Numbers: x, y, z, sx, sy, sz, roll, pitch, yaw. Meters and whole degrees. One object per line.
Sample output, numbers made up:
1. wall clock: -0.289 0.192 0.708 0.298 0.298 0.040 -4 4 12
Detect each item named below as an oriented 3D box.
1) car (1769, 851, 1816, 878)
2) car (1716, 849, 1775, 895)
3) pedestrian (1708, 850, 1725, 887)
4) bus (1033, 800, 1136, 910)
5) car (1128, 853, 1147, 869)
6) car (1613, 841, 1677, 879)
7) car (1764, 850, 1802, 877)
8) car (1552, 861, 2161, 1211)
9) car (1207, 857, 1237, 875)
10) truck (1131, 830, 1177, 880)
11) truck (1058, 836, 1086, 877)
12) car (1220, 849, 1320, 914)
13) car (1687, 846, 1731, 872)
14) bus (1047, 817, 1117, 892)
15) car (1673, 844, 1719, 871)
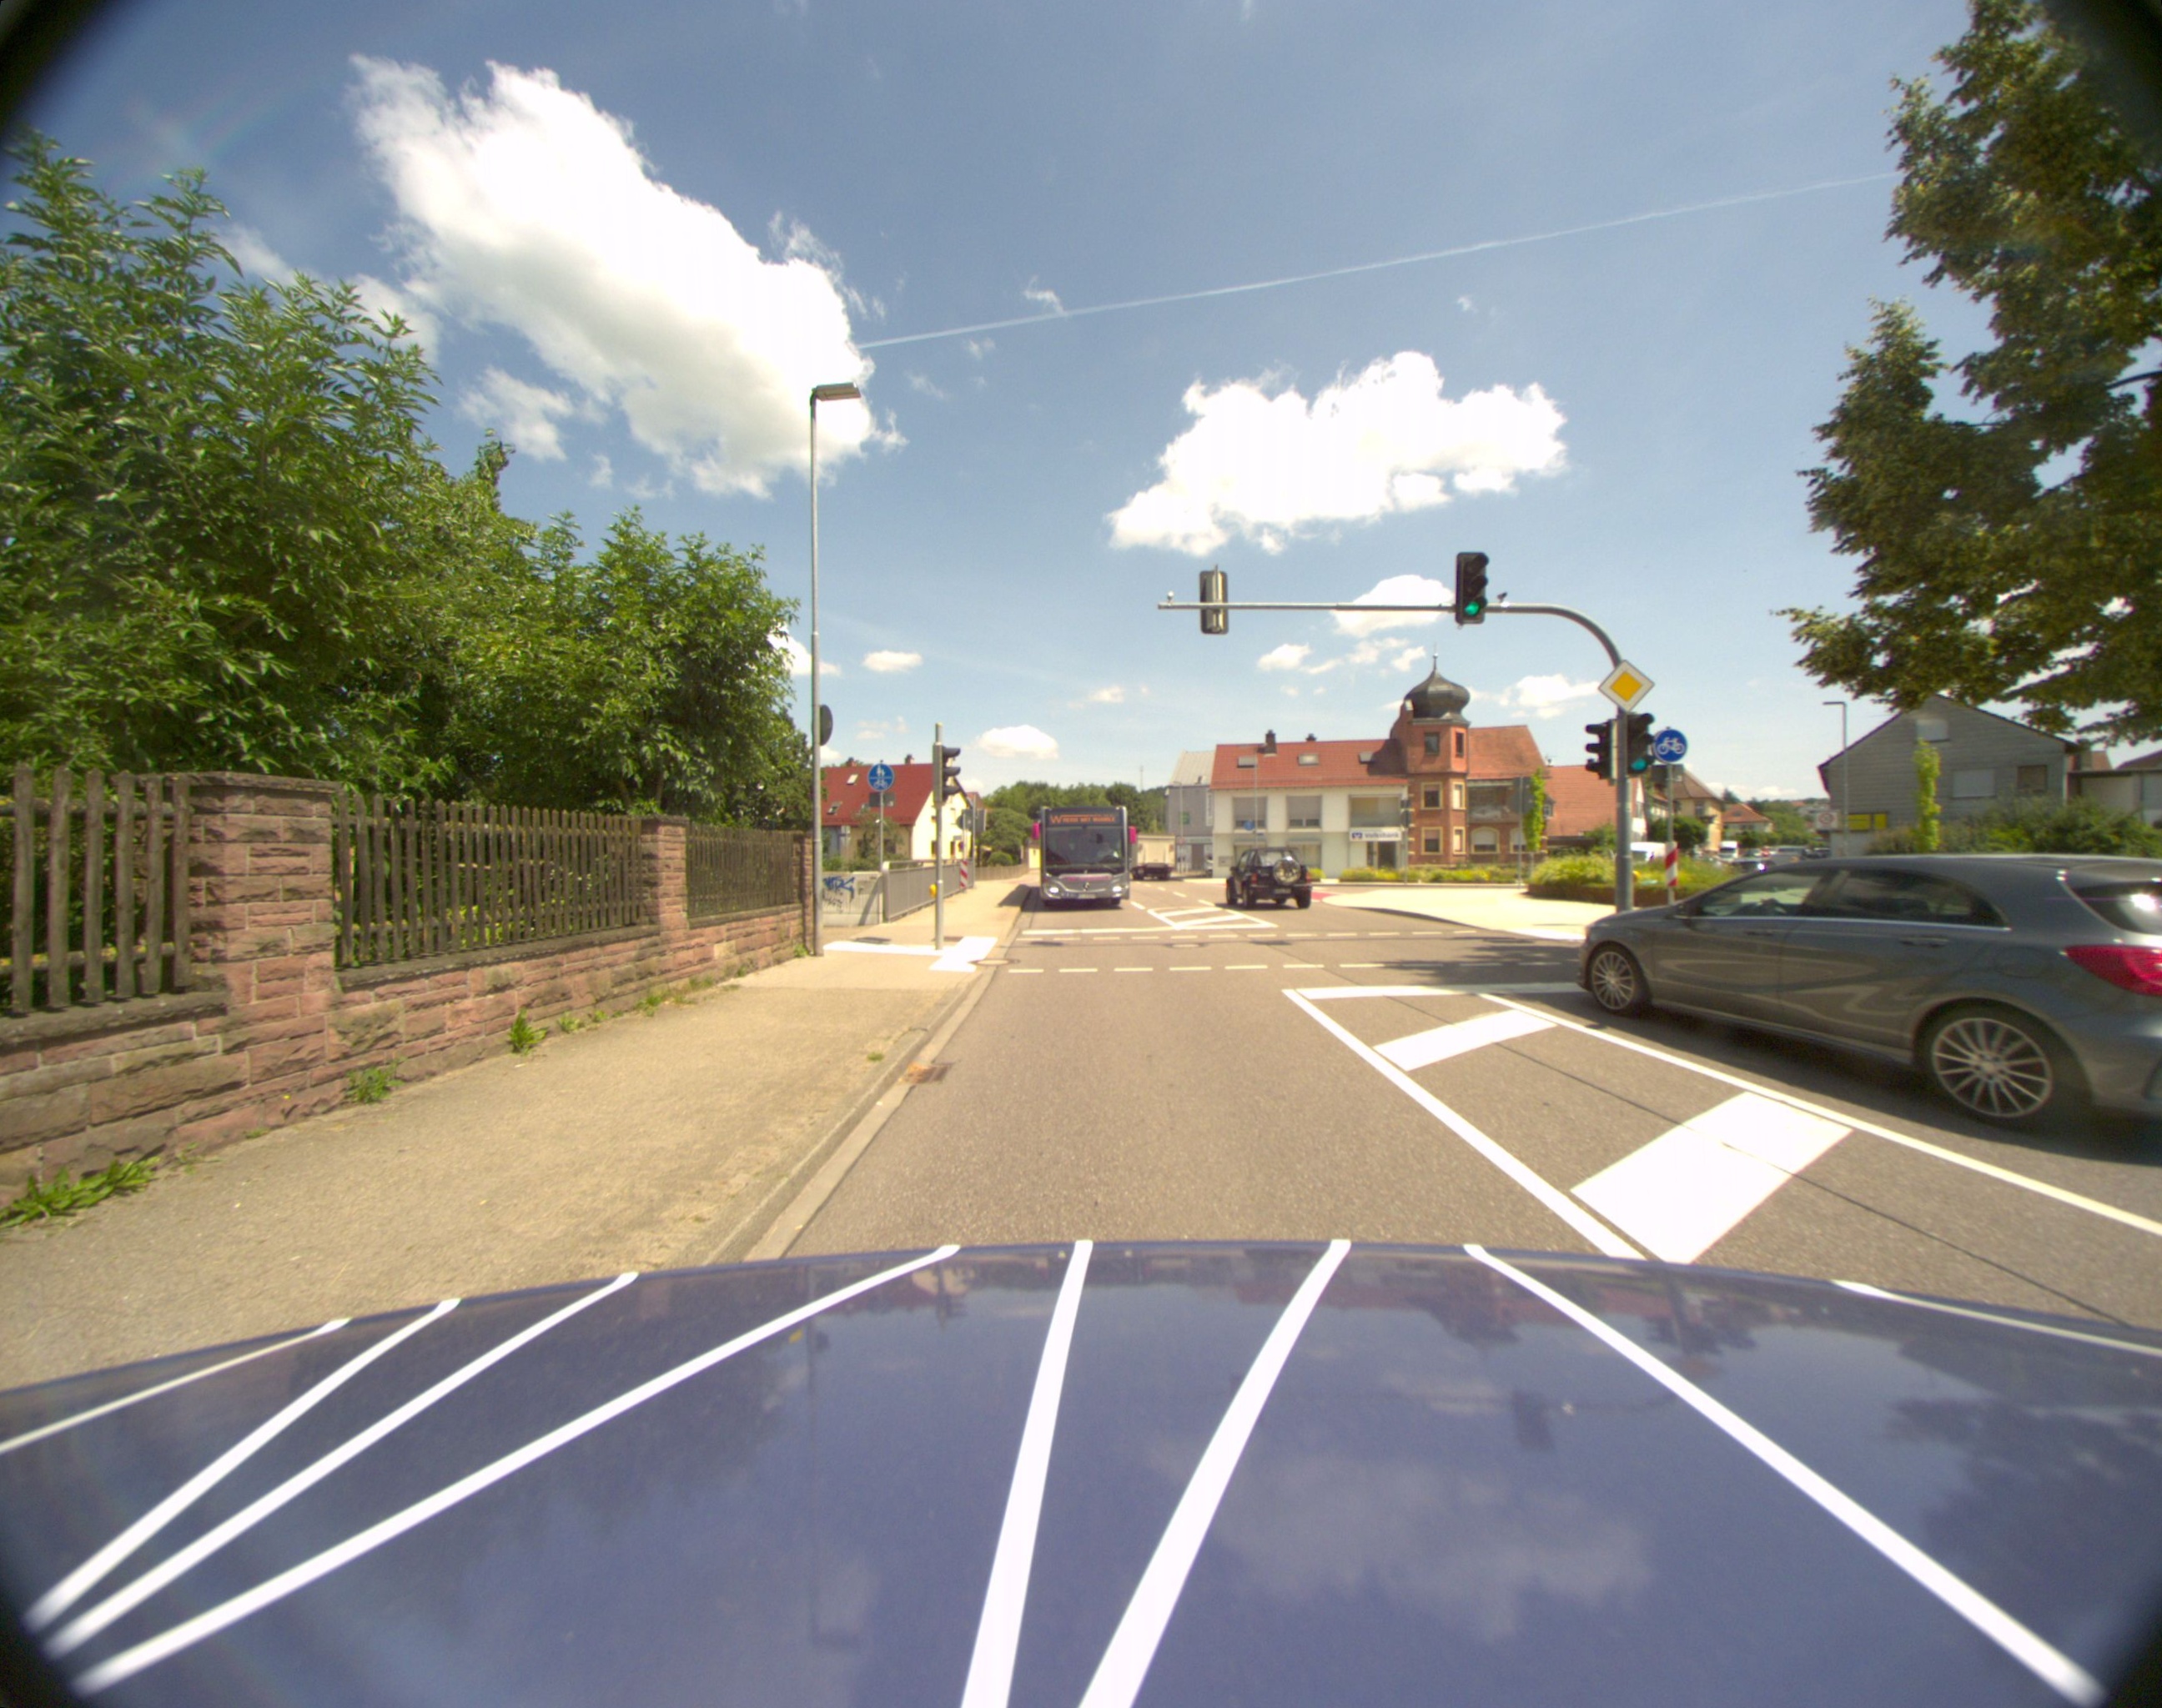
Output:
1. car: 47.615 0.656 50.930 2.063 1.718 4.009 1 1 40
2. car: 31.179 0.792 35.668 1.994 2.002 4.009 0 0 41
3. pedestrian: 30.459 0.688 36.398 0.616 1.738 0.505 -1 1 -37
4. bus: 0.052 0.172 25.344 2.756 2.949 9.282 1 -2 -1
5. car: 6.046 0.703 81.809 1.819 1.640 4.000 -2 1 2
6. car: 37.006 0.349 49.792 5.122 2.332 2.167 0 1 -40
7. car: 50.957 0.648 55.119 1.918 1.867 4.009 2 1 44
8. car: 5.553 0.818 5.223 1.868 1.434 4.215 1 1 -2
9. car: 13.088 1.073 70.158 1.995 1.565 4.260 1 0 21
10. truck: 4.931 0.050 52.501 2.508 3.217 6.038 1 1 -1
11. truck: -0.673 0.162 57.964 1.998 3.000 3.999 1 1 0
12. car: 5.142 0.692 21.160 1.743 1.641 3.667 -1 0 -2
13. car: 58.337 0.420 70.526 5.122 2.332 2.167 0 1 -40
14. bus: -0.027 0.161 34.679 2.756 2.949 9.282 1 -2 -1
15. car: 53.944 0.293 66.647 5.122 2.332 2.167 0 1 -40
